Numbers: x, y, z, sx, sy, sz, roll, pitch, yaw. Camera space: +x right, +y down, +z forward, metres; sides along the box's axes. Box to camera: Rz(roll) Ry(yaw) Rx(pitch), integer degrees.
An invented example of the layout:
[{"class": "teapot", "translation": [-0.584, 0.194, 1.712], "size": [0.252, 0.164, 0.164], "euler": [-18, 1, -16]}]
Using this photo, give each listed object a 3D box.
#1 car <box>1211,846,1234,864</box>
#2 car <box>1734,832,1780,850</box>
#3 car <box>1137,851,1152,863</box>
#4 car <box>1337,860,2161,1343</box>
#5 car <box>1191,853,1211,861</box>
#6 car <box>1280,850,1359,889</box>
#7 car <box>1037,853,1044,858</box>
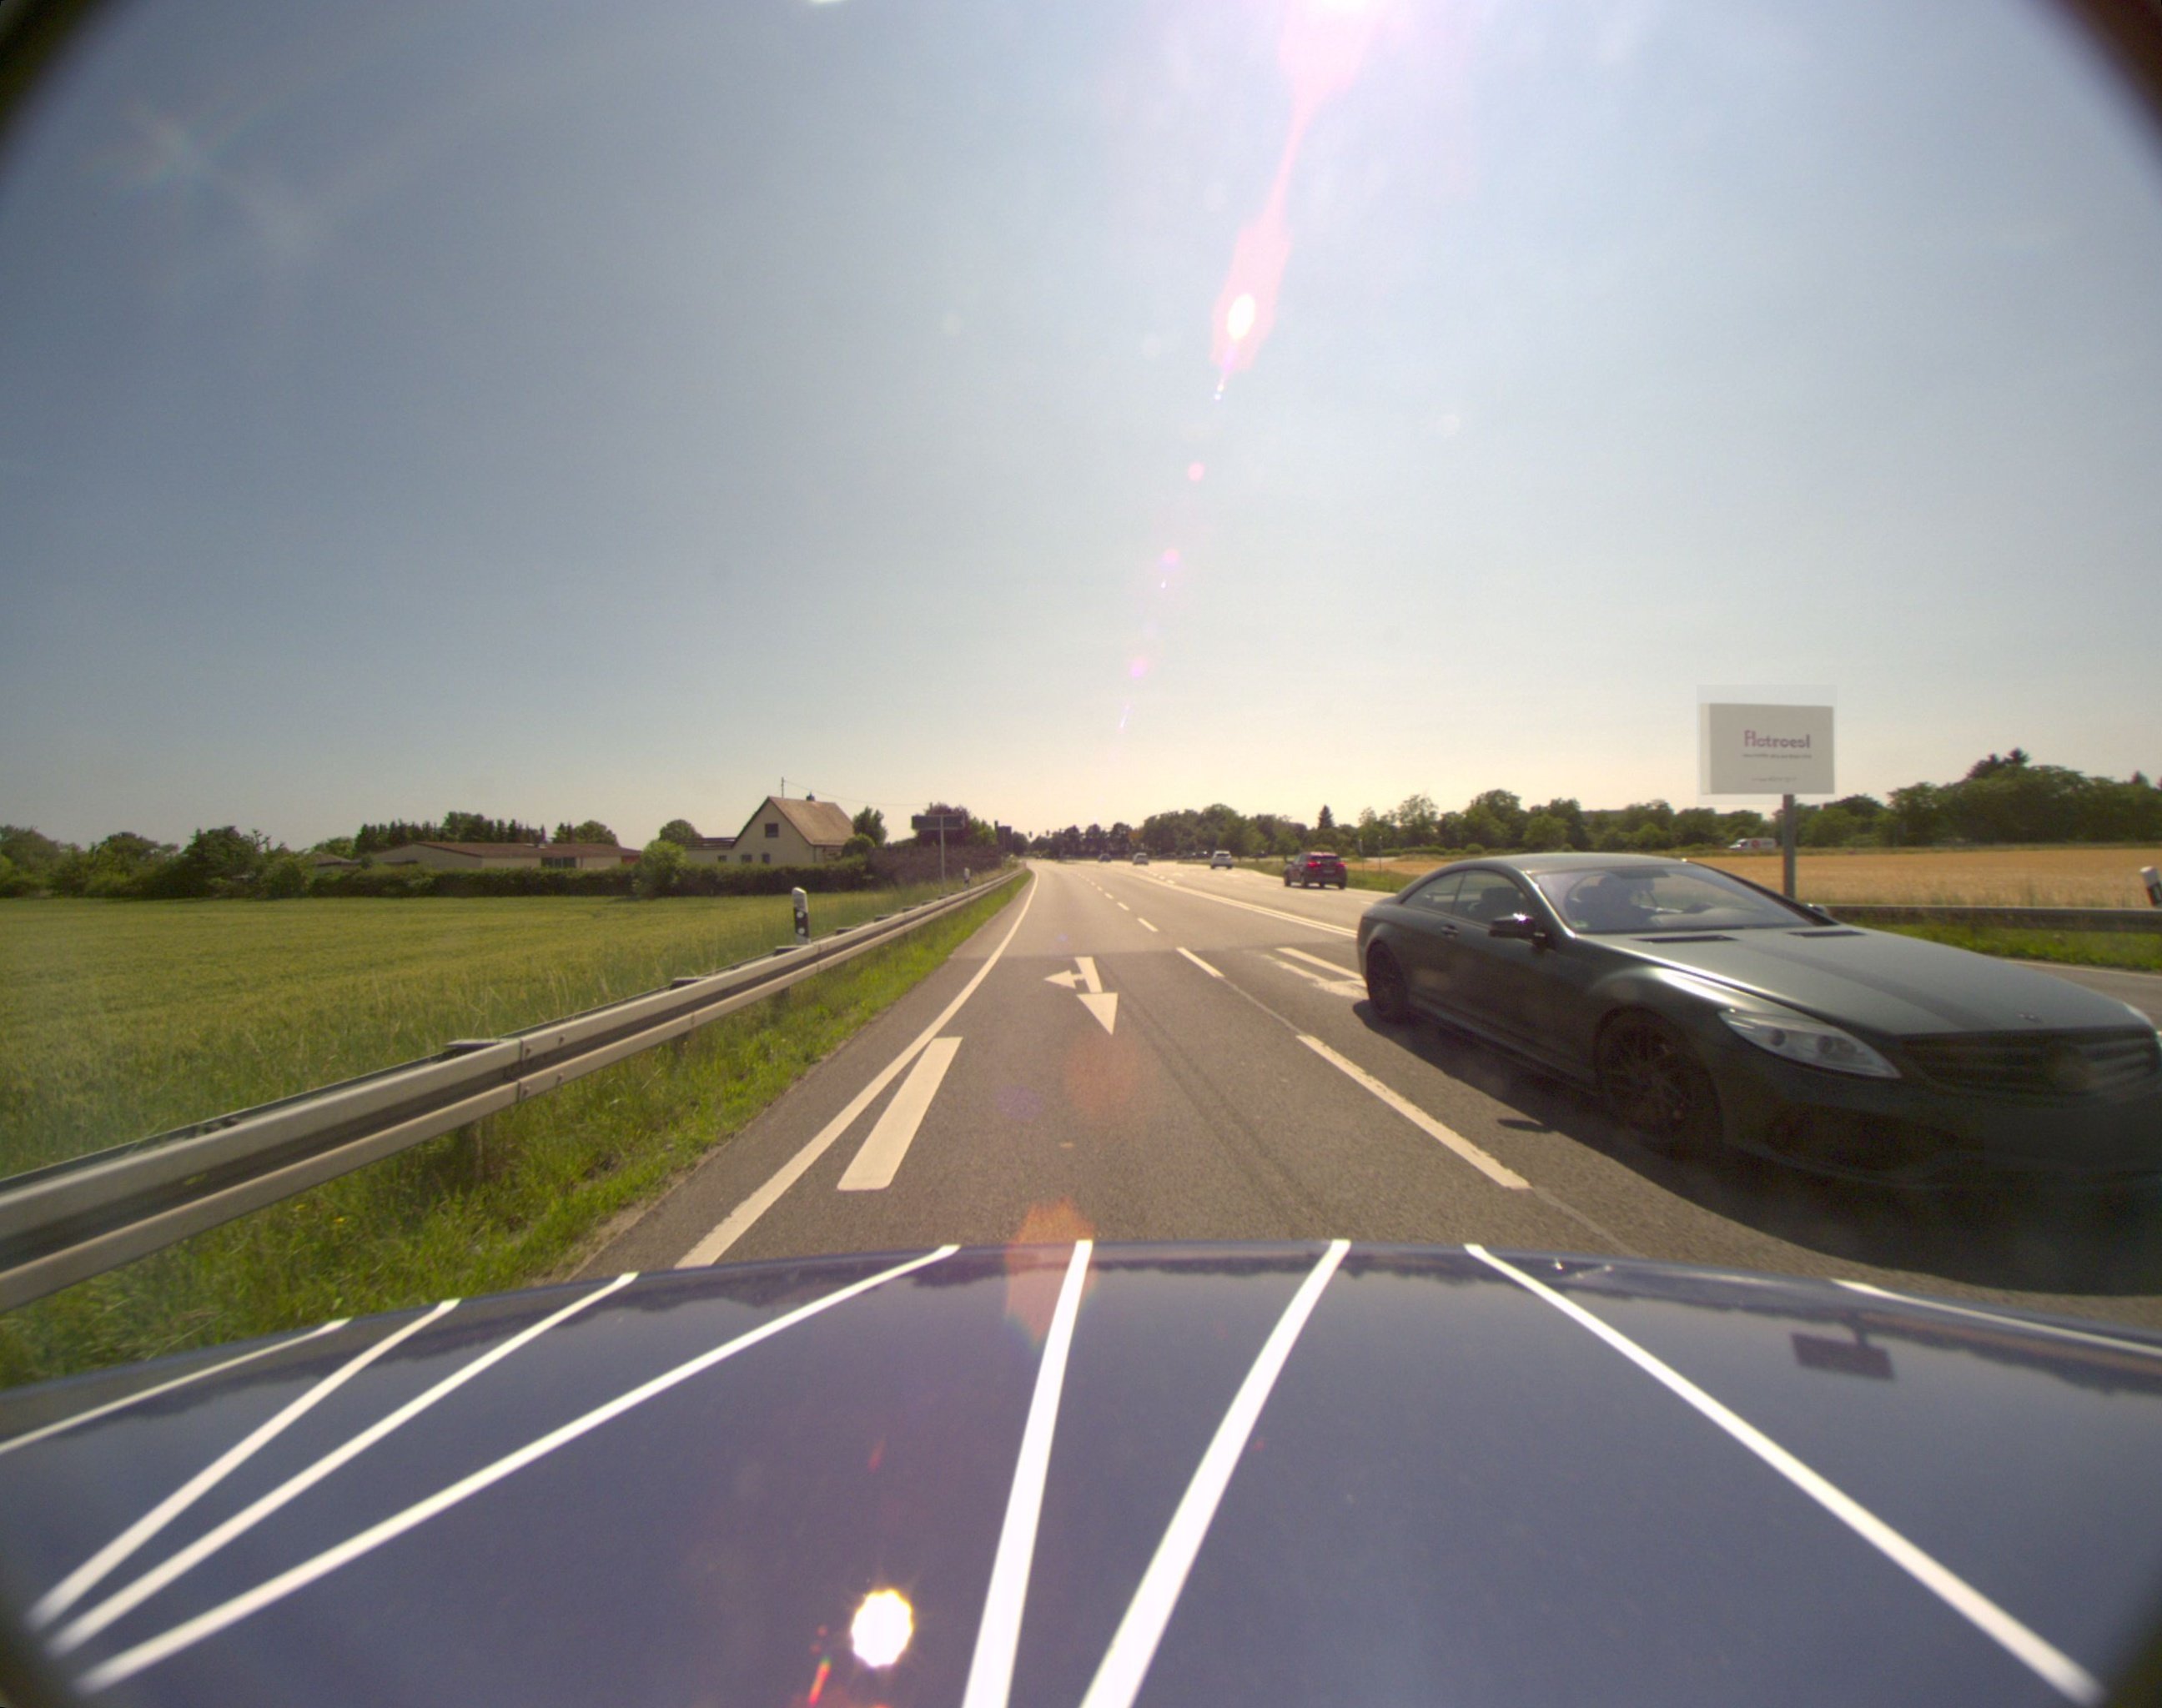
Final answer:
[{"class": "car", "translation": [13.646, 0.106, 73.544], "size": [1.669, 1.667, 4.463], "euler": [0, 0, 3]}, {"class": "car", "translation": [123.744, -2.369, 139.123], "size": [6.375, 2.893, 2.000], "euler": [-3, 1, 6]}, {"class": "car", "translation": [7.918, 0.321, 94.560], "size": [1.753, 1.433, 4.083], "euler": [-1, 0, 4]}, {"class": "car", "translation": [3.497, 0.829, 4.947], "size": [1.816, 1.441, 4.875], "euler": [-3, 0, -2]}, {"class": "car", "translation": [24.372, 0.625, 154.195], "size": [3.875, 1.379, 1.636], "euler": [-2, 0, 8]}, {"class": "car", "translation": [10.372, 0.642, 33.375], "size": [1.999, 1.553, 4.309], "euler": [0, 1, -2]}, {"class": "car", "translation": [-13.299, 0.538, 251.646], "size": [1.836, 1.591, 4.301], "euler": [-1, 1, -10]}]
